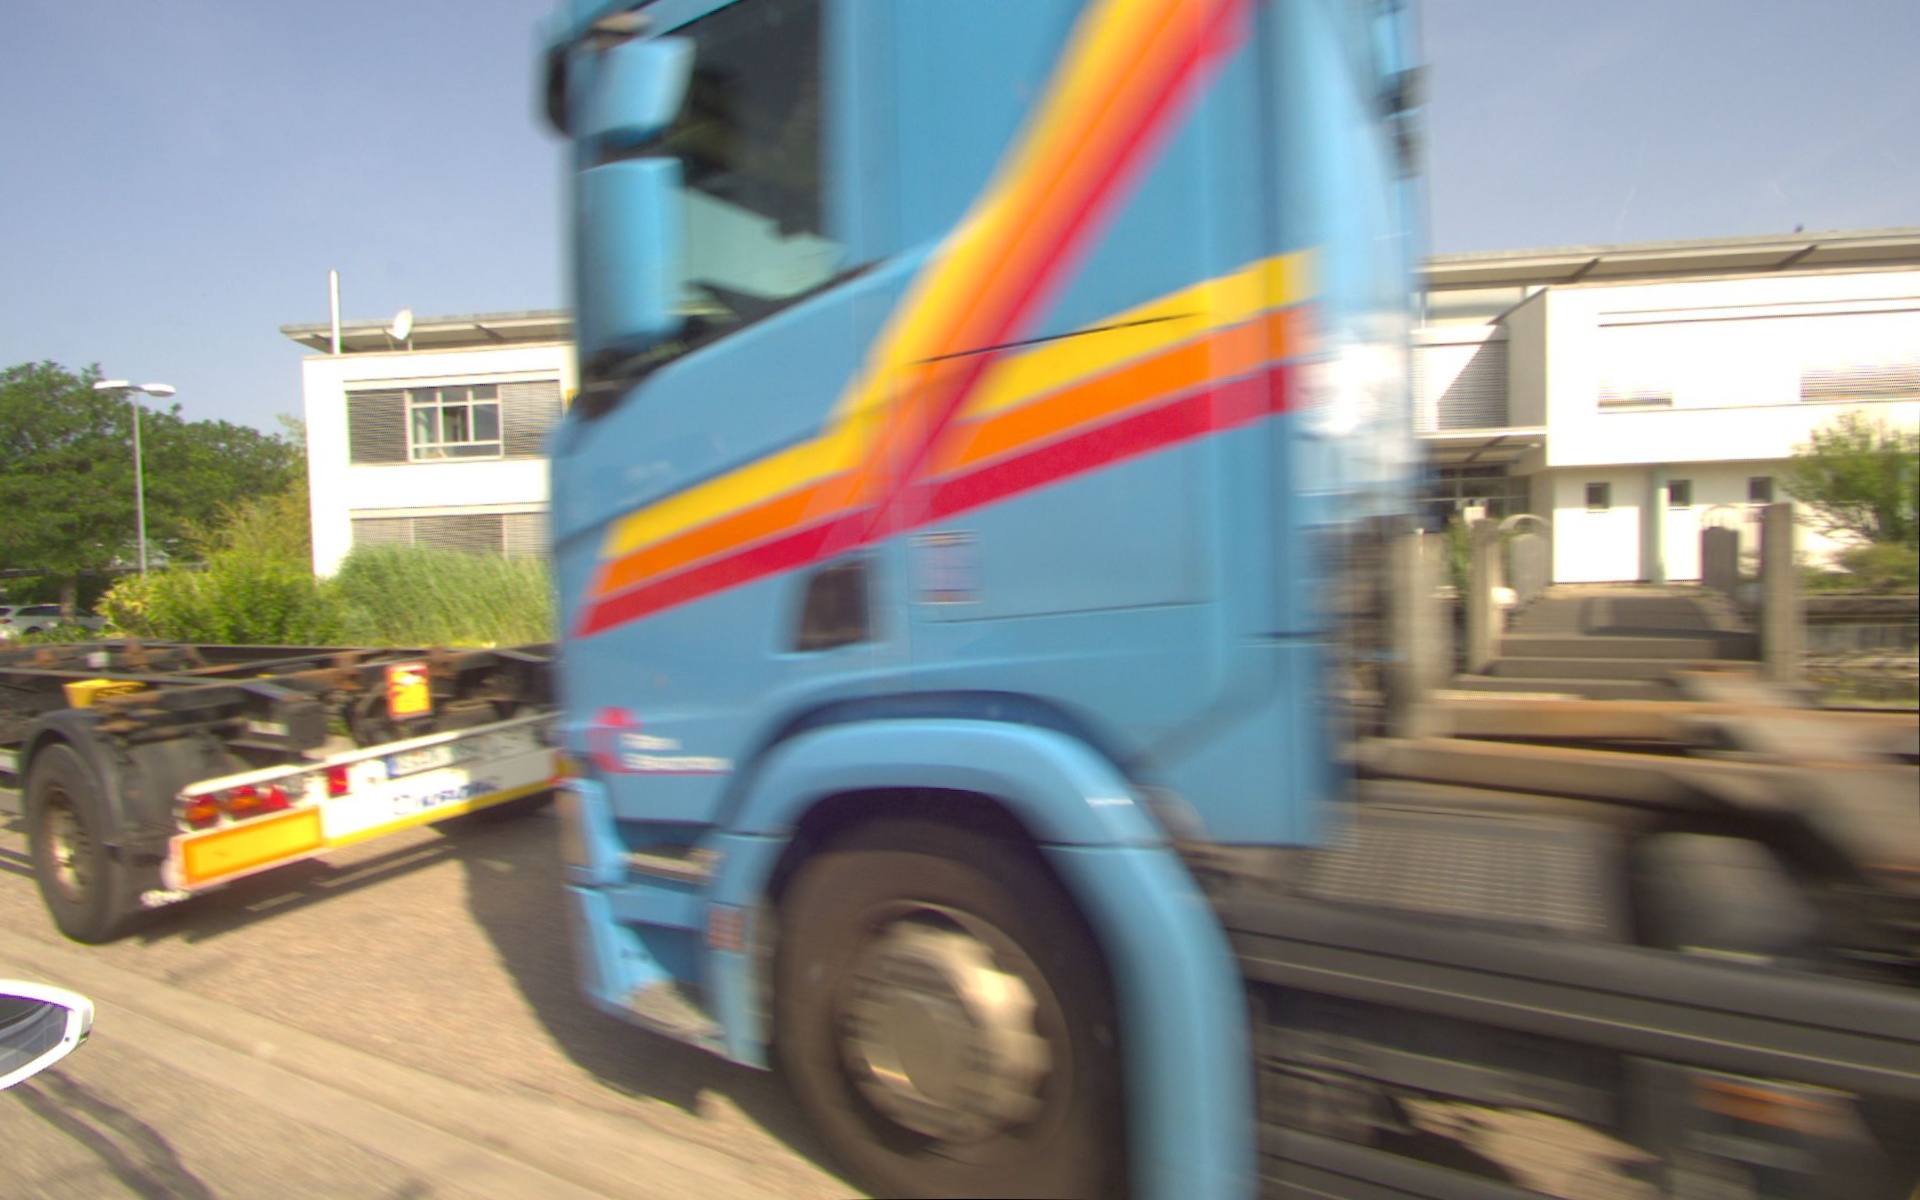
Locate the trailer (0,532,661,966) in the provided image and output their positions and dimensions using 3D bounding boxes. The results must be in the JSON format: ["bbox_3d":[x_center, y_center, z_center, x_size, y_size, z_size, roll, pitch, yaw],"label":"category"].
[{"bbox_3d":[-9.443,0.574,8.776,15.926,1.596,2.740,-1,3,29],"label":"trailer"}]

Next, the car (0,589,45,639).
[{"bbox_3d":[-35.440,0.500,35.724,1.961,1.790,4.001,-1,-1,-2],"label":"car"}]

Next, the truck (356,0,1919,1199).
[{"bbox_3d":[3.343,-0.521,1.602,9.609,3.585,2.881,-2,5,30],"label":"truck"}]

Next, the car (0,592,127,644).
[{"bbox_3d":[-32.213,0.670,35.456,1.731,1.723,4.087,-1,-1,8],"label":"car"}]
